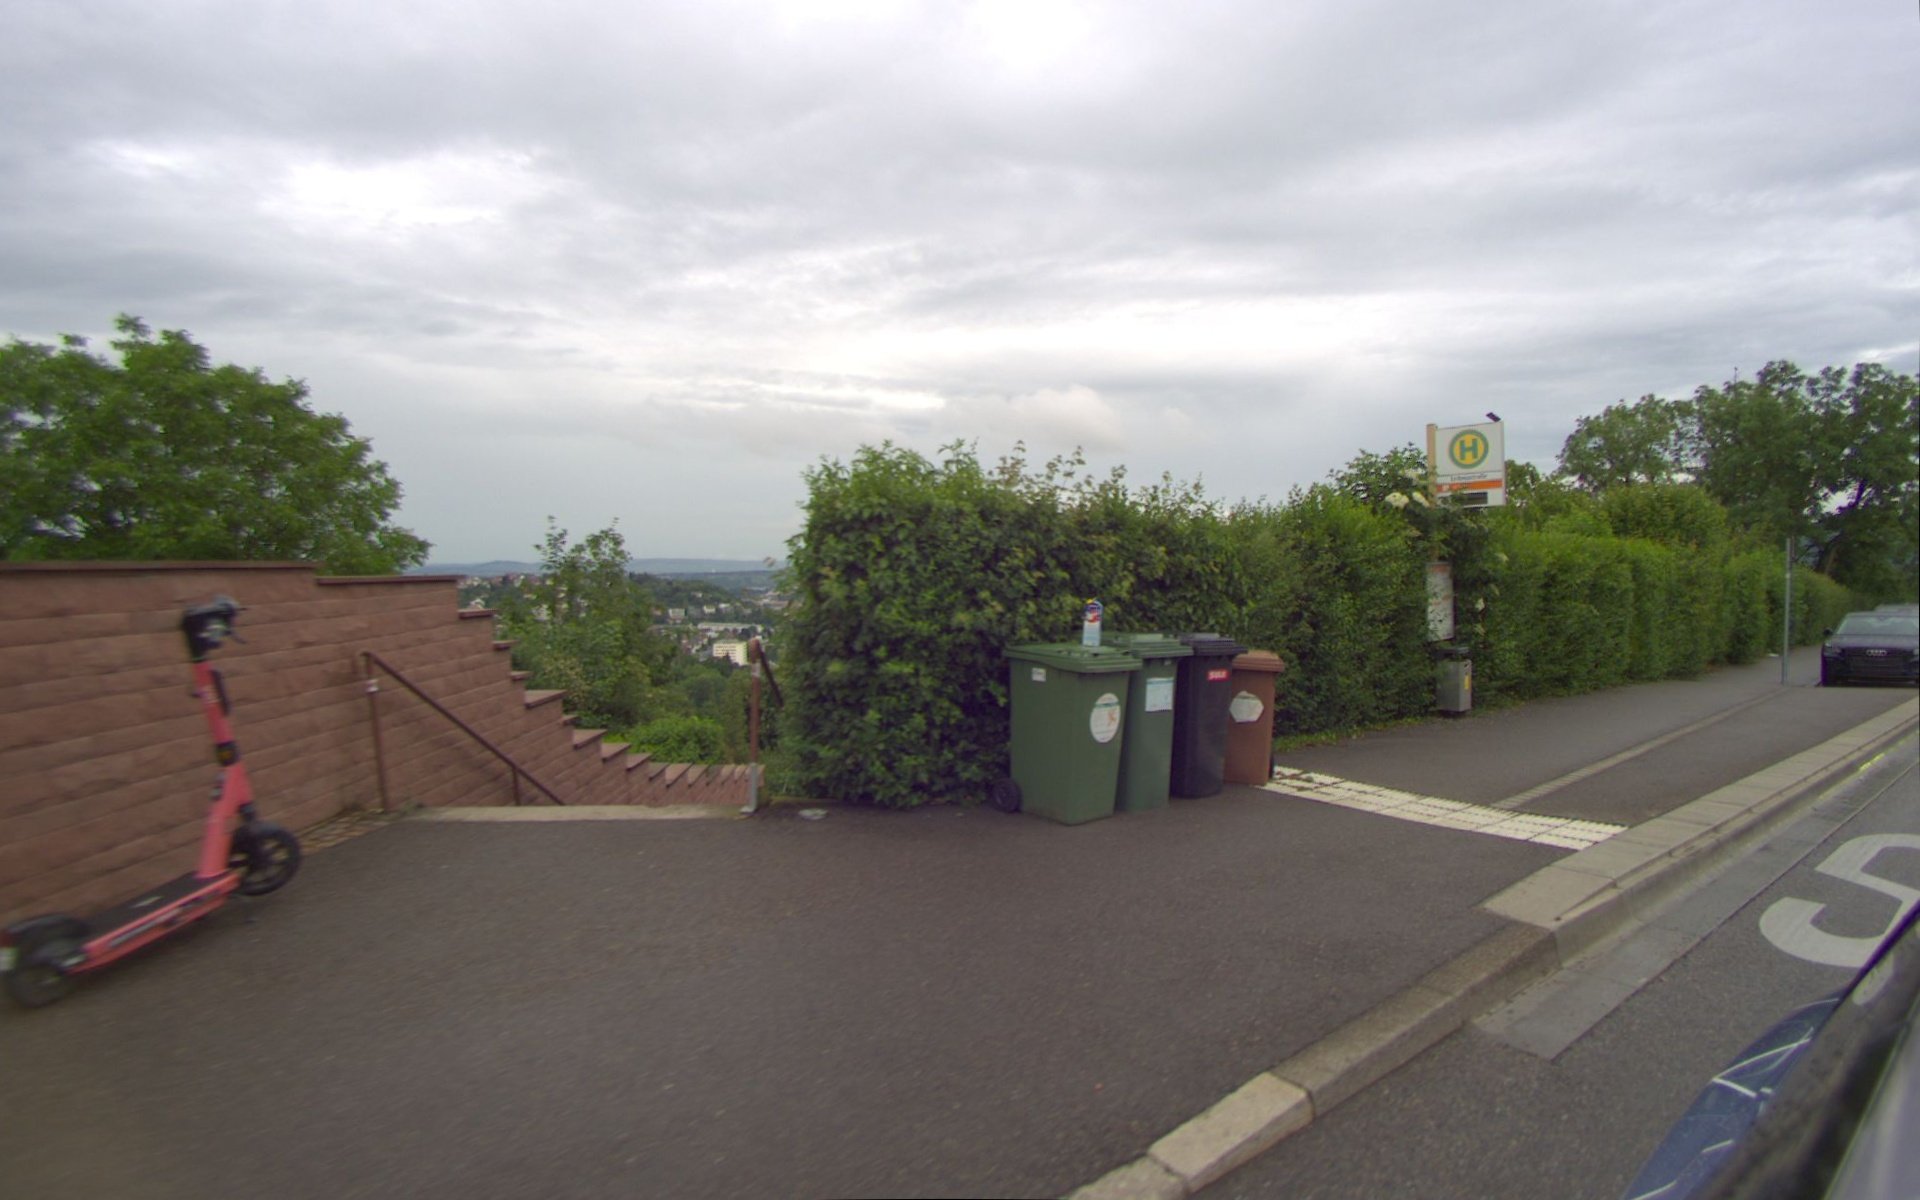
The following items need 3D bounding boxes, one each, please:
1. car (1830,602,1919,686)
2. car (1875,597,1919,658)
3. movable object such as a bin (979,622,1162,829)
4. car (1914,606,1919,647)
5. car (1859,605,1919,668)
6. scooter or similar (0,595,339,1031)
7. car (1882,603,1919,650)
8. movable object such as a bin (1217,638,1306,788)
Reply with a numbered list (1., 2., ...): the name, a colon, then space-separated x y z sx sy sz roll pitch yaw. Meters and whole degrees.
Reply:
1. car: 19.153 0.832 20.692 4.137 1.549 1.755 0 0 -45
2. car: 28.236 0.787 29.673 1.887 1.684 4.474 0 -1 45
3. movable object such as a bin: 0.639 0.675 5.864 0.745 1.042 0.712 1 2 -45
4. car: 36.456 0.971 37.271 3.916 1.440 1.690 0 1 -43
5. car: 23.158 0.847 24.585 4.532 1.423 1.714 1 0 -45
6. scooter or similar: -2.866 0.637 3.638 0.680 1.239 1.265 1 3 -11
7. car: 31.899 0.866 33.071 1.791 1.458 4.589 1 0 32
8. movable object such as a bin: 2.120 0.770 7.171 0.563 0.981 0.667 0 -1 14
